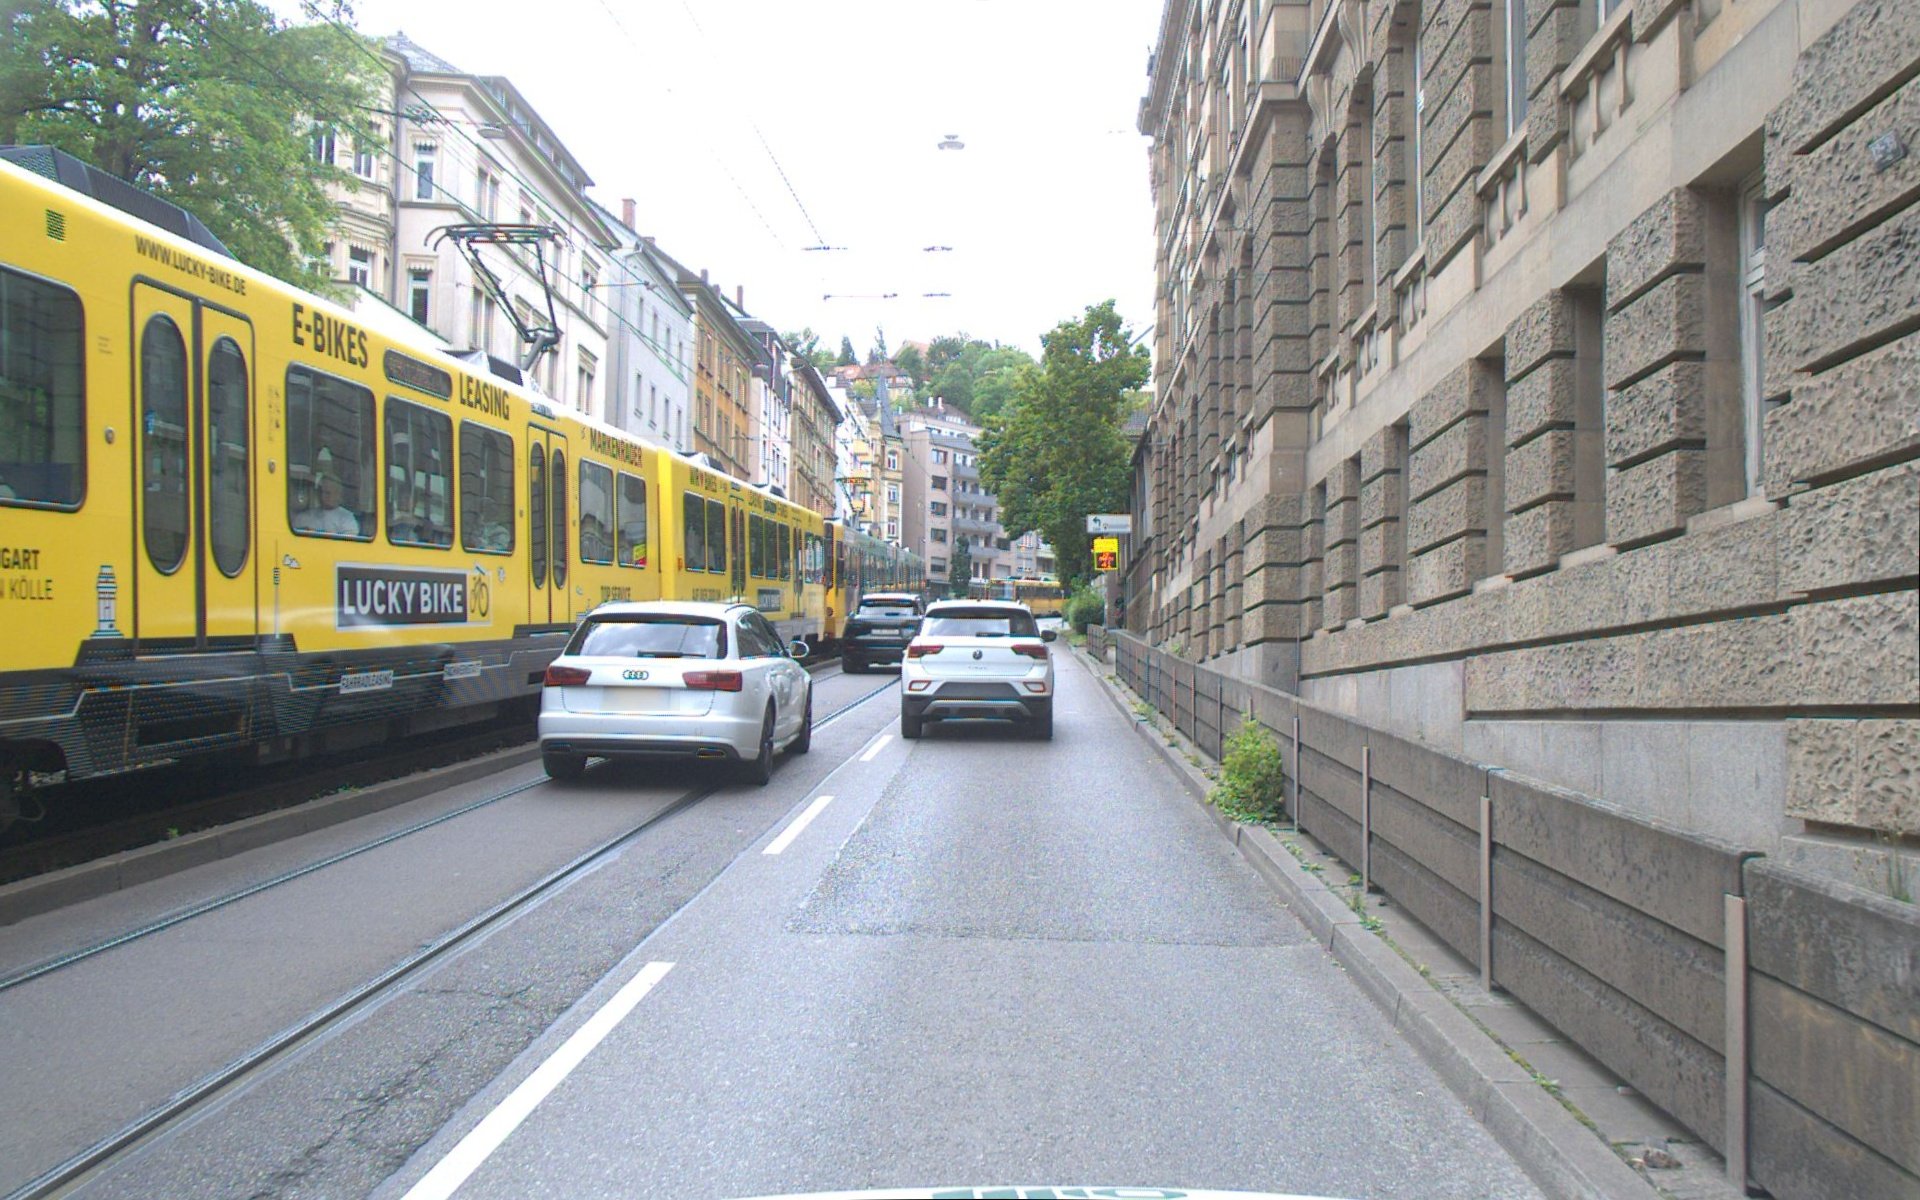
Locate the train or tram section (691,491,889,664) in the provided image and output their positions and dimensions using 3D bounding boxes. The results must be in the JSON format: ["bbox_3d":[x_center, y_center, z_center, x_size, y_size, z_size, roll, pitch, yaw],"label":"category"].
[{"bbox_3d":[-4.246,-0.472,46.771,2.816,3.791,18.761,2,0,2],"label":"train or tram section"}]

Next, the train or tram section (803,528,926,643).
[{"bbox_3d":[-3.439,-0.463,65.520,2.816,3.791,18.762,2,0,2],"label":"train or tram section"}]

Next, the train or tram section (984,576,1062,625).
[{"bbox_3d":[6.068,0.101,153.677,2.953,4.287,18.871,1,0,16],"label":"train or tram section"}]

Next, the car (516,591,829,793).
[{"bbox_3d":[-2.347,0.699,14.734,1.840,1.480,4.618,1,0,1],"label":"car"}]

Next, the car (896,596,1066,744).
[{"bbox_3d":[0.310,0.765,19.998,1.840,1.582,4.001,1,0,2],"label":"car"}]

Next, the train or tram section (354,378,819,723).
[{"bbox_3d":[-5.018,-0.519,28.018,2.816,3.791,18.707,2,0,2],"label":"train or tram section"}]

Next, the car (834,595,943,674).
[{"bbox_3d":[-1.492,0.706,36.079,1.995,1.599,4.359,1,0,2],"label":"car"}]

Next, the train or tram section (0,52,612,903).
[{"bbox_3d":[-5.601,-0.560,11.209,2.823,3.791,14.858,2,0,2],"label":"train or tram section"}]
